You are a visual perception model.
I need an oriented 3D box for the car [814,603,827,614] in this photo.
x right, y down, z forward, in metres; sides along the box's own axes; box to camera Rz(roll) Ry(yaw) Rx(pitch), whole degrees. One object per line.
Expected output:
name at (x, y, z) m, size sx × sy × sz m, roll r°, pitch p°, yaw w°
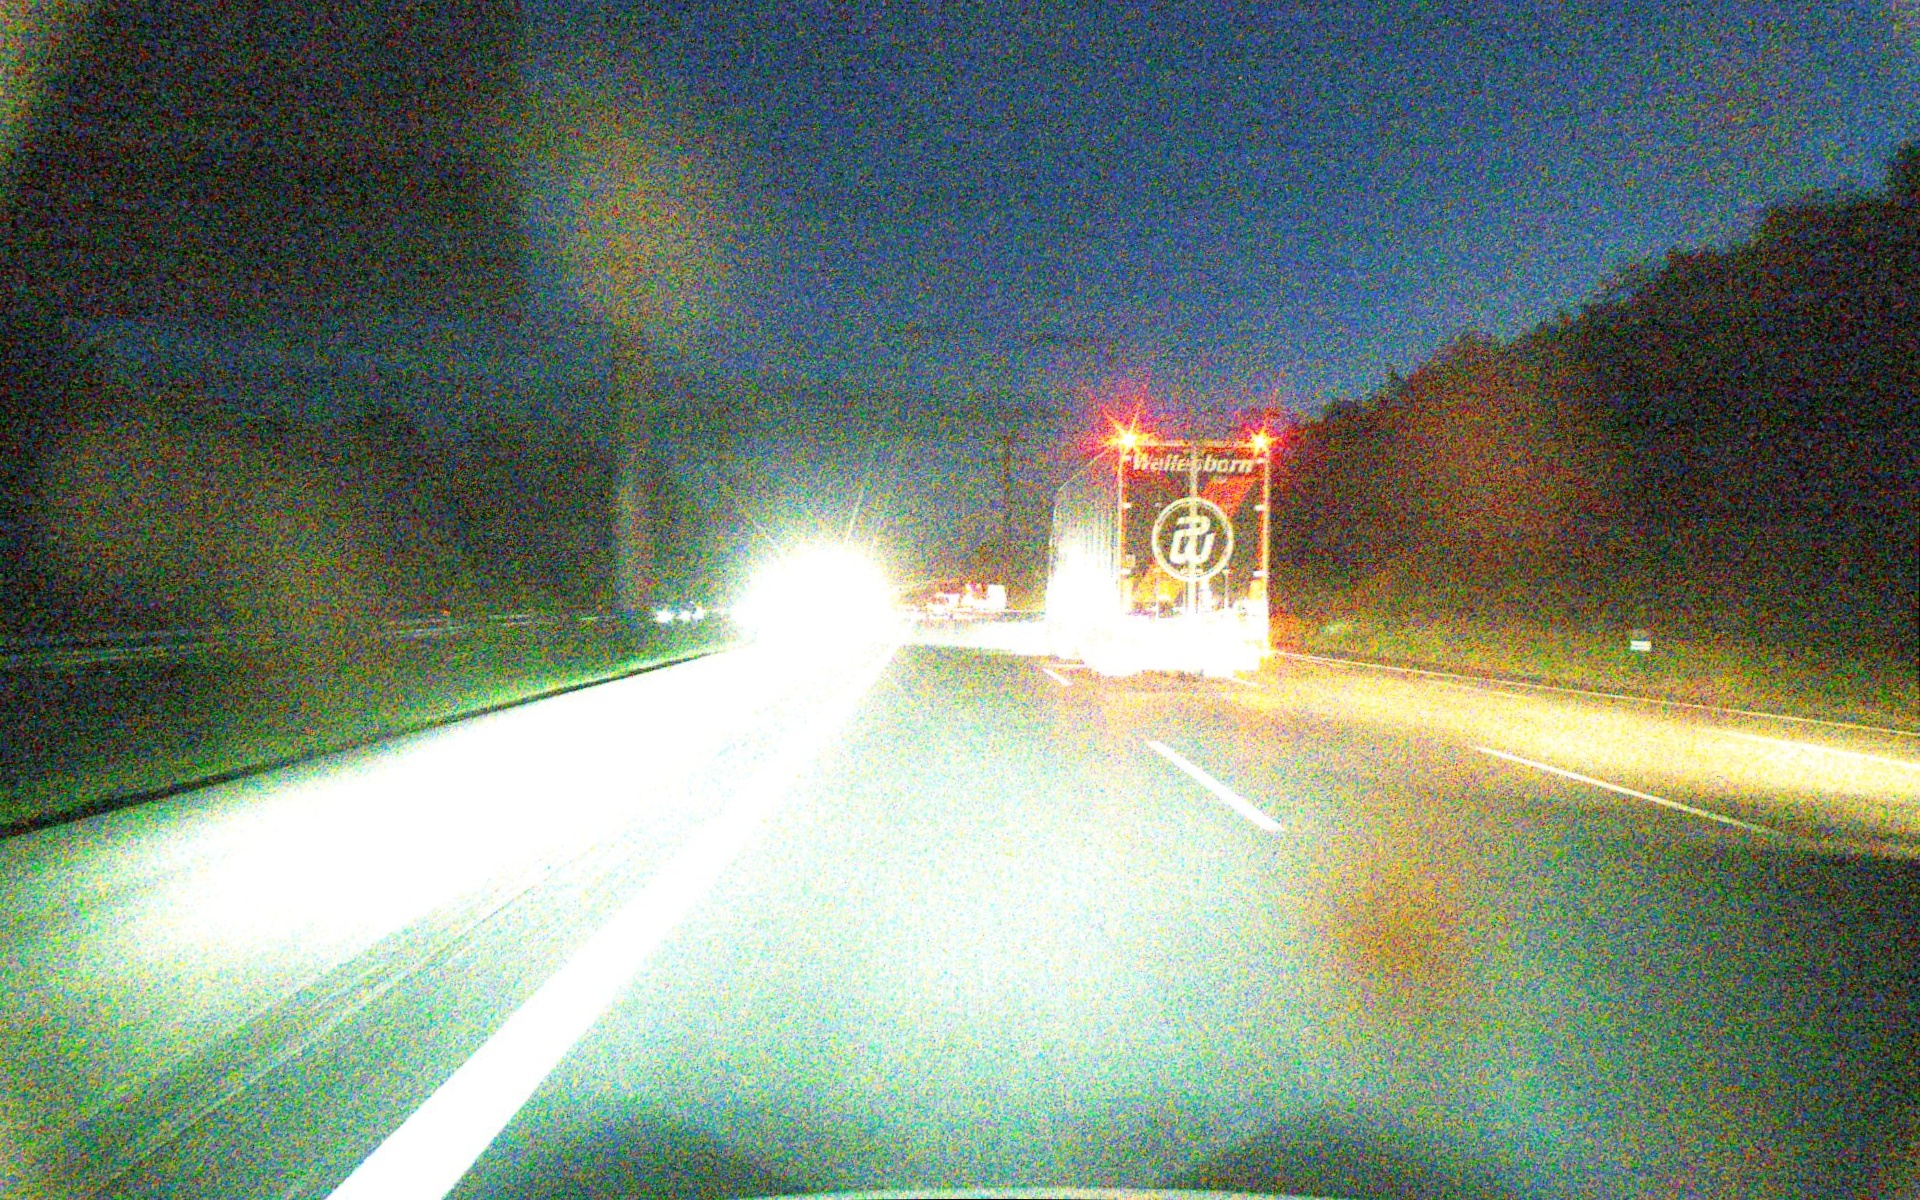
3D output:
car at (-20.475, 1.238, 242.636) m, size 1.599 × 1.418 × 4.875 m, roll -2°, pitch 0°, yaw -3°

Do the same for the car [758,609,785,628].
car at (-16.091, 1.578, 141.274) m, size 1.714 × 1.504 × 4.481 m, roll -2°, pitch 0°, yaw 0°

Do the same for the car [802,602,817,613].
car at (-19.007, 0.961, 208.827) m, size 1.629 × 1.357 × 4.806 m, roll -2°, pitch 0°, yaw -3°

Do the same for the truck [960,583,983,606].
truck at (1.770, -0.824, 253.779) m, size 2.983 × 3.383 × 10.137 m, roll 1°, pitch 0°, yaw -2°

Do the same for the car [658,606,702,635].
car at (-15.836, 1.154, 93.767) m, size 1.715 × 1.504 × 4.941 m, roll -2°, pitch 0°, yaw -1°

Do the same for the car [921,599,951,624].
car at (-1.511, 0.695, 103.920) m, size 1.784 × 1.492 × 4.246 m, roll 1°, pitch 0°, yaw -2°

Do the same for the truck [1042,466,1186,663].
truck at (3.554, -0.772, 39.773) m, size 2.608 × 4.280 × 6.721 m, roll 1°, pitch 0°, yaw -1°

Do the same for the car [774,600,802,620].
car at (-13.575, 0.772, 130.614) m, size 1.715 × 1.504 × 4.762 m, roll -2°, pitch 0°, yaw -1°

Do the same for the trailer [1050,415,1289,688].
trailer at (3.709, -0.763, 33.078) m, size 2.687 × 4.280 × 13.506 m, roll 1°, pitch 0°, yaw -1°

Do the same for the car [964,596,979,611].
car at (1.122, 0.371, 159.166) m, size 1.319 × 1.411 × 3.500 m, roll 1°, pitch 0°, yaw -2°

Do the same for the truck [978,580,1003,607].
truck at (3.265, -0.665, 178.311) m, size 2.035 × 2.738 × 7.301 m, roll 1°, pitch -1°, yaw -4°
